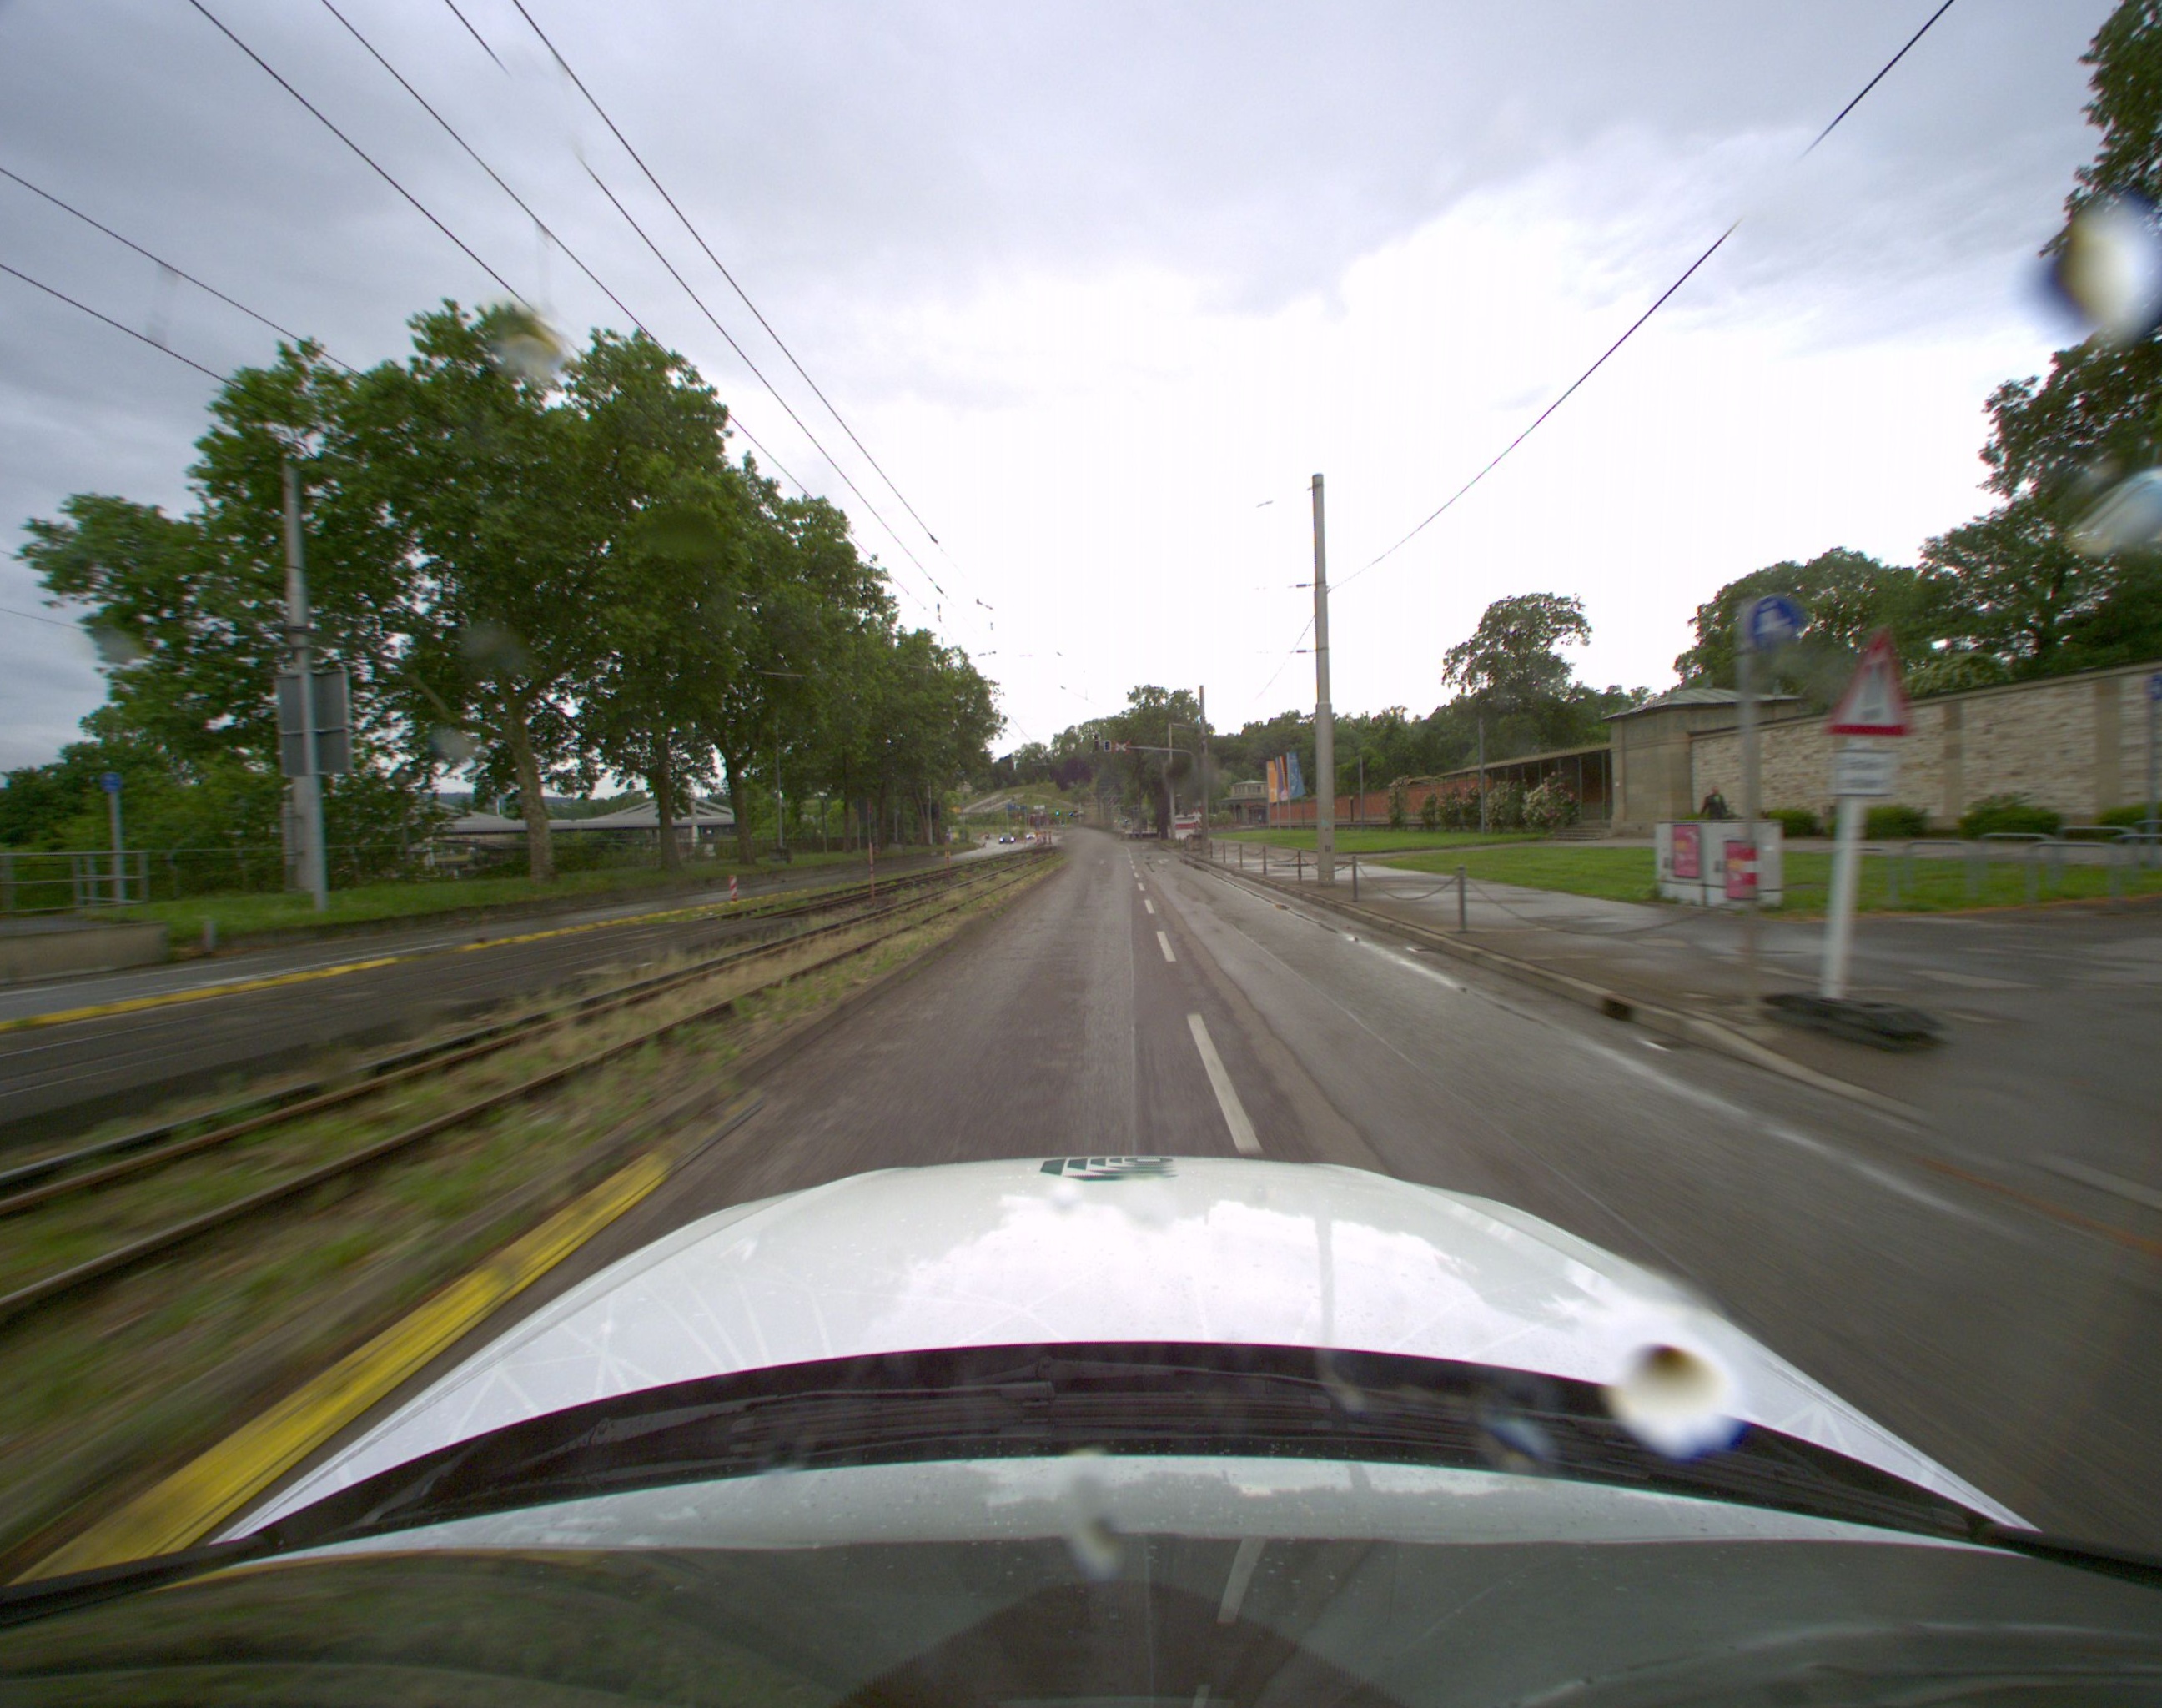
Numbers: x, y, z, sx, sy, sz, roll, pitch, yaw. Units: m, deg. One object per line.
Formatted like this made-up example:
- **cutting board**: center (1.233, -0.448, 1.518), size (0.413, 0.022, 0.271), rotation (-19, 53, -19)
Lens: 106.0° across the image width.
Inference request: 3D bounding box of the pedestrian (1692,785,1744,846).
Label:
- **pedestrian**: center (18.698, -1.116, 23.924), size (0.725, 1.710, 0.982), rotation (-2, 1, 3)

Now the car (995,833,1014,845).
- **car**: center (-10.287, -2.025, 109.526), size (1.749, 1.429, 4.539), rotation (-4, 1, -14)

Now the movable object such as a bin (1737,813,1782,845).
- **movable object such as a bin**: center (19.259, -0.702, 23.139), size (0.340, 0.872, 1.193), rotation (-2, 1, 3)

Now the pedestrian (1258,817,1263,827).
- **pedestrian**: center (28.737, -5.130, 130.598), size (0.544, 1.656, 0.472), rotation (-1, 1, 37)

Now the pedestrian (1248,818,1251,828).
- **pedestrian**: center (27.267, -5.026, 131.758), size (0.527, 1.710, 0.698), rotation (0, 0, 14)
